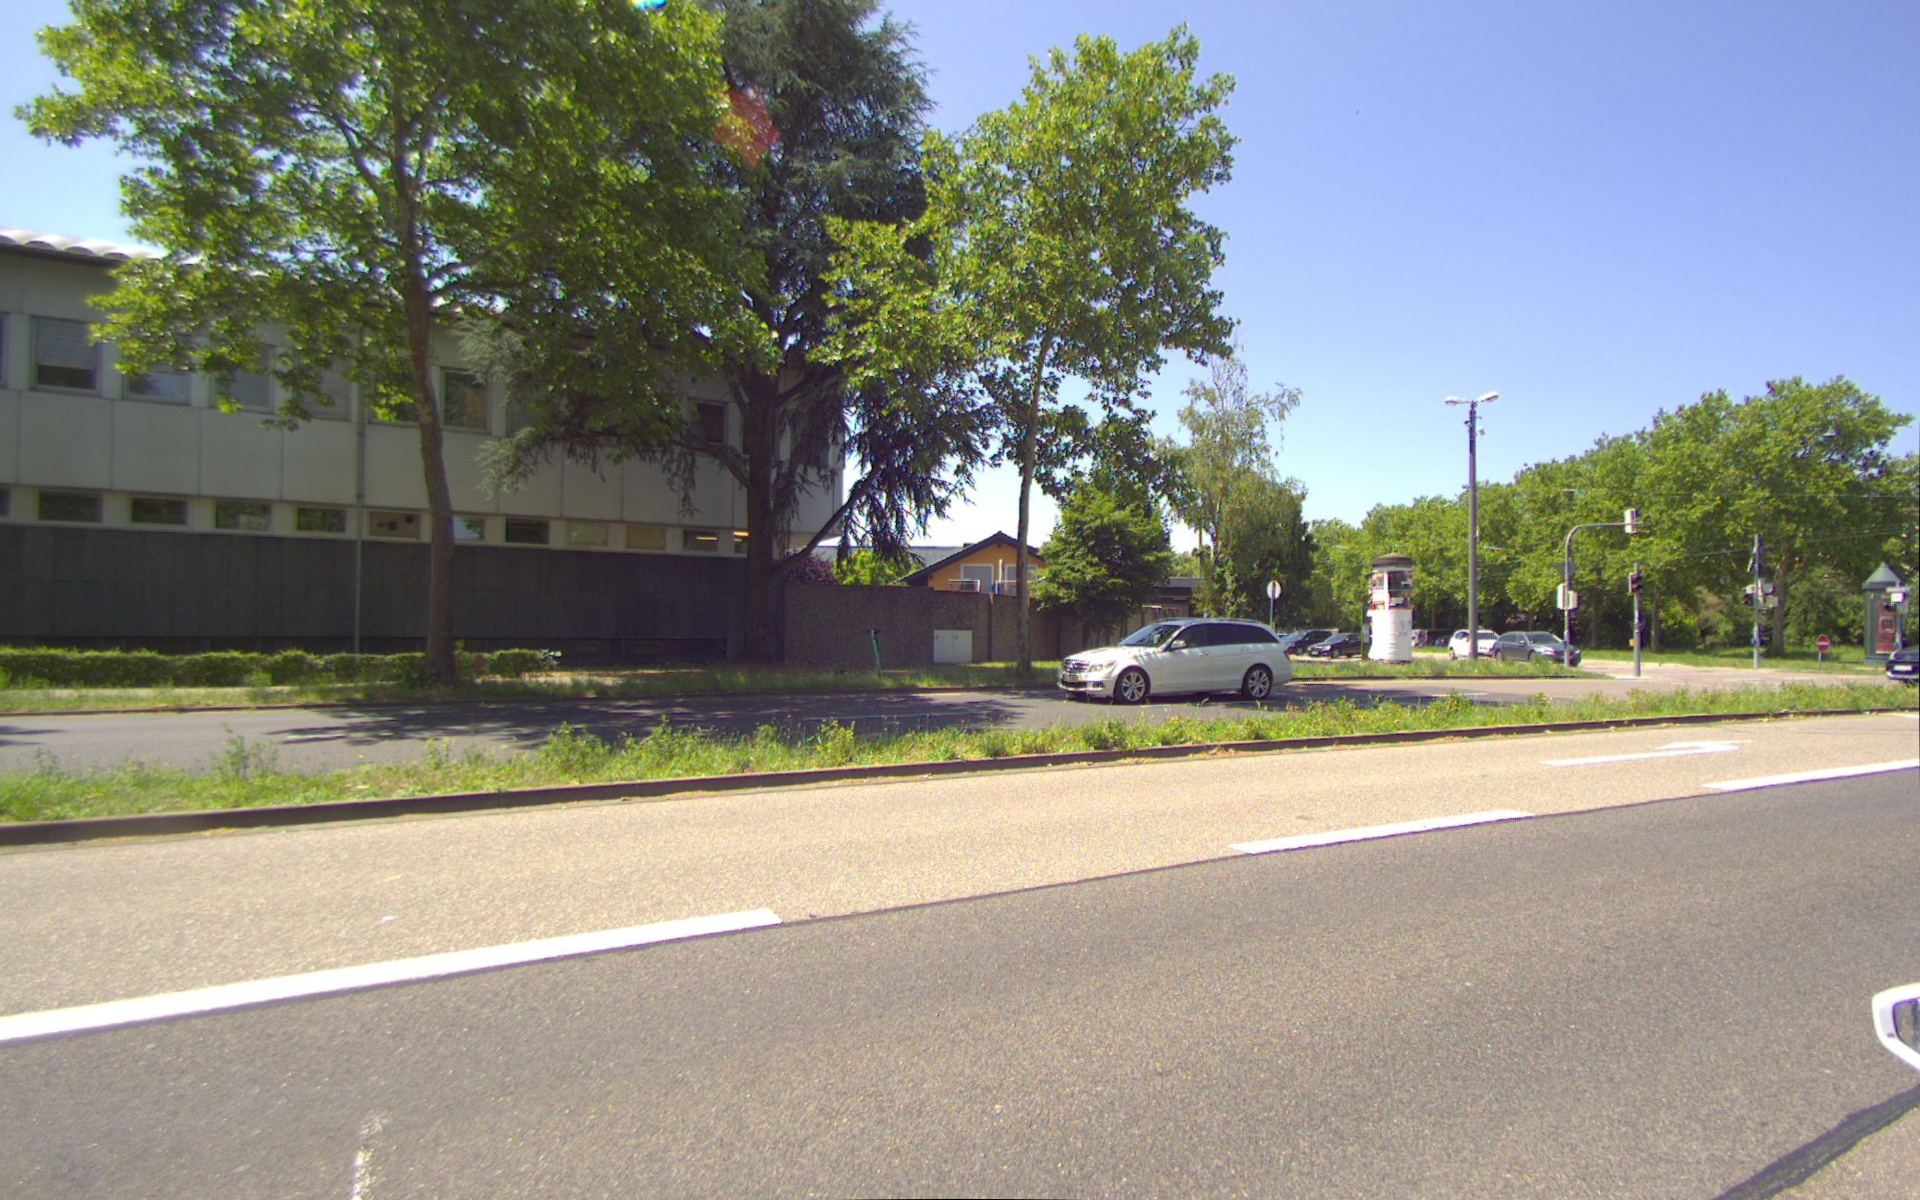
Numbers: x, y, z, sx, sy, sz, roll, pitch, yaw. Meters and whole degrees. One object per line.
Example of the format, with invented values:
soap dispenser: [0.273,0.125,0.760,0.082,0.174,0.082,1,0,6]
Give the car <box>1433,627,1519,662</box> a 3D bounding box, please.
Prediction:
car: [25.823,2.199,50.412,2.172,1.626,4.463,0,-1,2]

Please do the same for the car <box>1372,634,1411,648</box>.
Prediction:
car: [45.946,4.387,106.937,3.481,1.415,1.500,1,-1,-2]

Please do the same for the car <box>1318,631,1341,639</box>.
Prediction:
car: [49.801,4.678,135.307,2.667,1.007,1.009,1,-1,-1]

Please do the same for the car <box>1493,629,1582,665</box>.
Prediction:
car: [25.056,1.995,43.740,1.729,1.476,3.994,0,-1,2]

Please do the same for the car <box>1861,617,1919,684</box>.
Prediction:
car: [26.611,1.327,26.235,4.355,1.701,1.918,0,-1,2]

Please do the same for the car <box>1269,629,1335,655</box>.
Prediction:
car: [22.773,2.779,66.816,4.138,1.672,1.773,1,-2,-26]

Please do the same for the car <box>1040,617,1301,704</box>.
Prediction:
car: [3.876,1.057,18.390,4.485,1.437,1.848,1,-1,-25]

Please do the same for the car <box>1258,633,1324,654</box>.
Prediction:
car: [23.135,3.025,70.267,4.330,1.430,1.866,1,-2,-26]

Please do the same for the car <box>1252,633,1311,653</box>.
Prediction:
car: [24.356,3.246,76.148,4.004,1.442,1.936,1,-2,-24]
